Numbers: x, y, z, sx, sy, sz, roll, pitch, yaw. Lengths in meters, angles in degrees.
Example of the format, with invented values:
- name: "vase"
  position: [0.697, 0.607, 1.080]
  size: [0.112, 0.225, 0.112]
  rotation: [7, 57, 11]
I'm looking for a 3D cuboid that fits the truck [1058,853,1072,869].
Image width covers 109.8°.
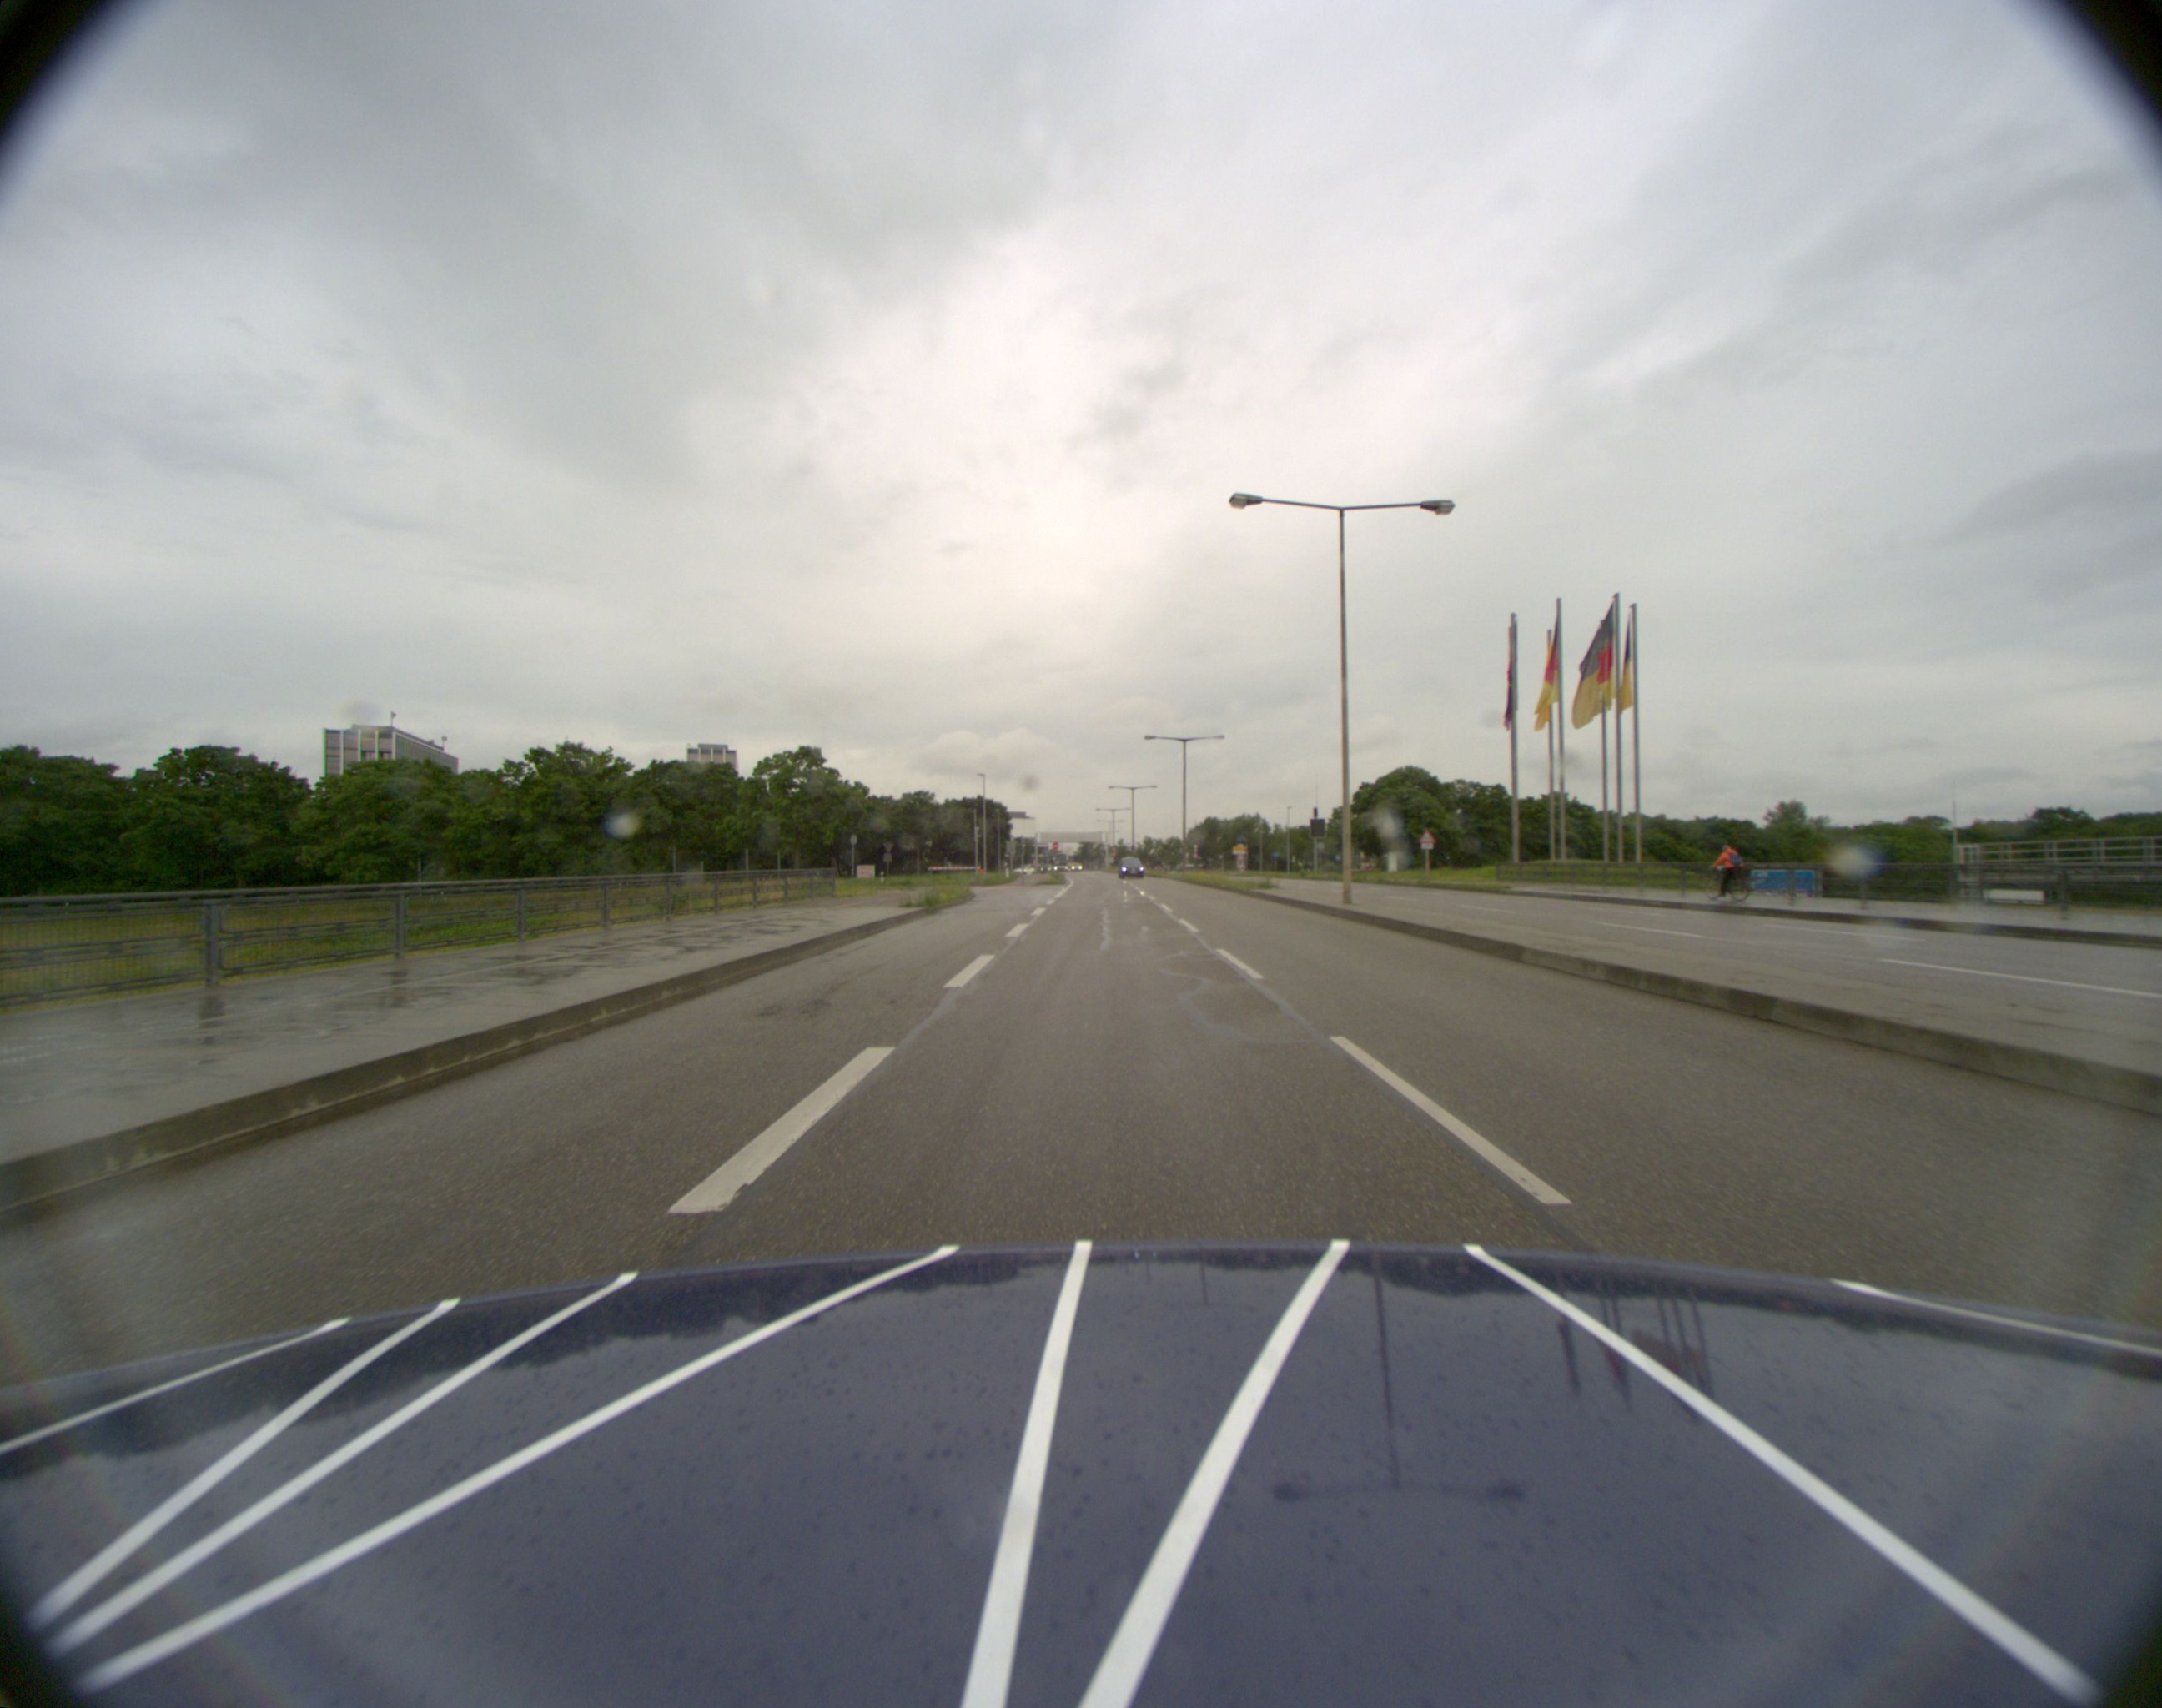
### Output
- name: "truck"
  position: [-3.282, 1.366, 156.201]
  size: [2.860, 3.196, 8.096]
  rotation: [-1, 0, -1]

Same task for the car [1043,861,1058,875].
- name: "car"
  position: [-4.789, 2.197, 121.130]
  size: [2.252, 2.248, 5.170]
  rotation: [-1, 0, -1]

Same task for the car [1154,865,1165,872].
- name: "car"
  position: [18.870, 3.487, 182.722]
  size: [1.851, 1.740, 4.030]
  rotation: [-1, 0, -3]

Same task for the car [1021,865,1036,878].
- name: "car"
  position: [-7.565, 2.518, 109.527]
  size: [1.841, 1.739, 4.000]
  rotation: [-1, 0, -1]

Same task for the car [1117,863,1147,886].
- name: "car"
  position: [4.196, 1.694, 63.620]
  size: [1.851, 1.740, 4.817]
  rotation: [-4, -1, -3]

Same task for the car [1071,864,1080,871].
- name: "car"
  position: [-1.368, 3.402, 189.205]
  size: [1.999, 1.701, 3.999]
  rotation: [-1, 0, -1]

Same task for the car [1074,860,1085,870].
- name: "car"
  position: [-0.388, 2.092, 144.161]
  size: [1.999, 1.701, 3.999]
  rotation: [-1, 0, -1]

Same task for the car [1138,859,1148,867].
- name: "car"
  position: [13.550, 1.996, 165.418]
  size: [1.850, 1.612, 4.031]
  rotation: [-1, 0, 0]

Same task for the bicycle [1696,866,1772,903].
- name: "bicycle"
  position: [19.898, 0.913, 23.220]
  size: [0.611, 1.027, 2.001]
  rotation: [-2, 0, 1]

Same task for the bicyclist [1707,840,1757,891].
- name: "bicyclist"
  position: [19.870, 0.351, 23.213]
  size: [0.621, 1.491, 1.003]
  rotation: [-2, 1, 1]
